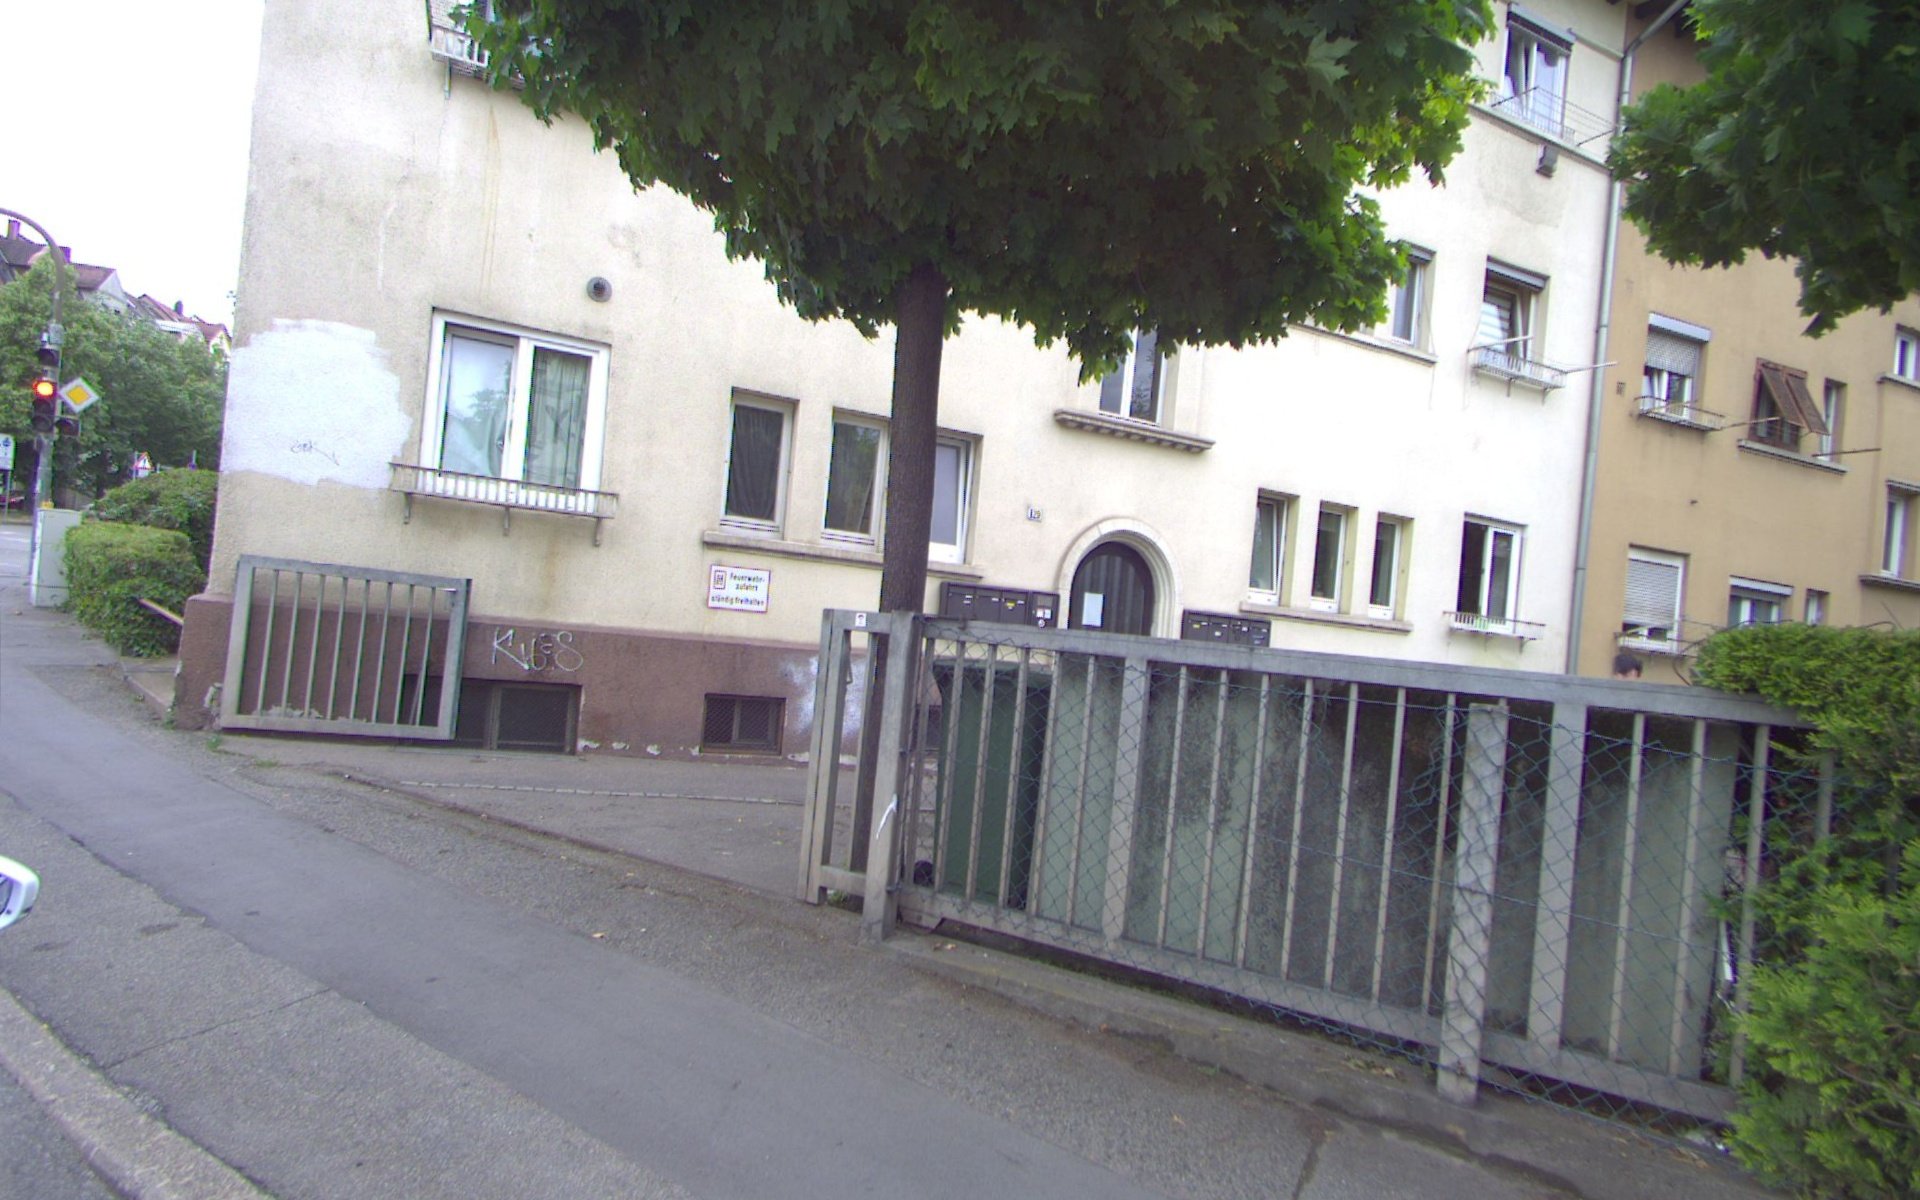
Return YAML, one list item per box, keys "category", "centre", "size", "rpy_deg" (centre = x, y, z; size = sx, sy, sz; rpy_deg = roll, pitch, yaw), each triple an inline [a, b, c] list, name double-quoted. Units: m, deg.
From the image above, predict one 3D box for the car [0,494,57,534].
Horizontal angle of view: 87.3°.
- category: "car"
  centre: [-60.881, -5.622, 64.940]
  size: [1.970, 2.036, 3.992]
  rpy_deg: [9, -3, -15]

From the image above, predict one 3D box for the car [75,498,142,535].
- category: "car"
  centre: [-63.224, -6.155, 74.783]
  size: [1.969, 2.036, 3.993]
  rpy_deg: [8, -3, -13]

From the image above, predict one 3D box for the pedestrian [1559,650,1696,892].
- category: "pedestrian"
  centre: [5.250, 1.313, 7.956]
  size: [0.683, 1.759, 0.466]
  rpy_deg: [7, 1, 28]
